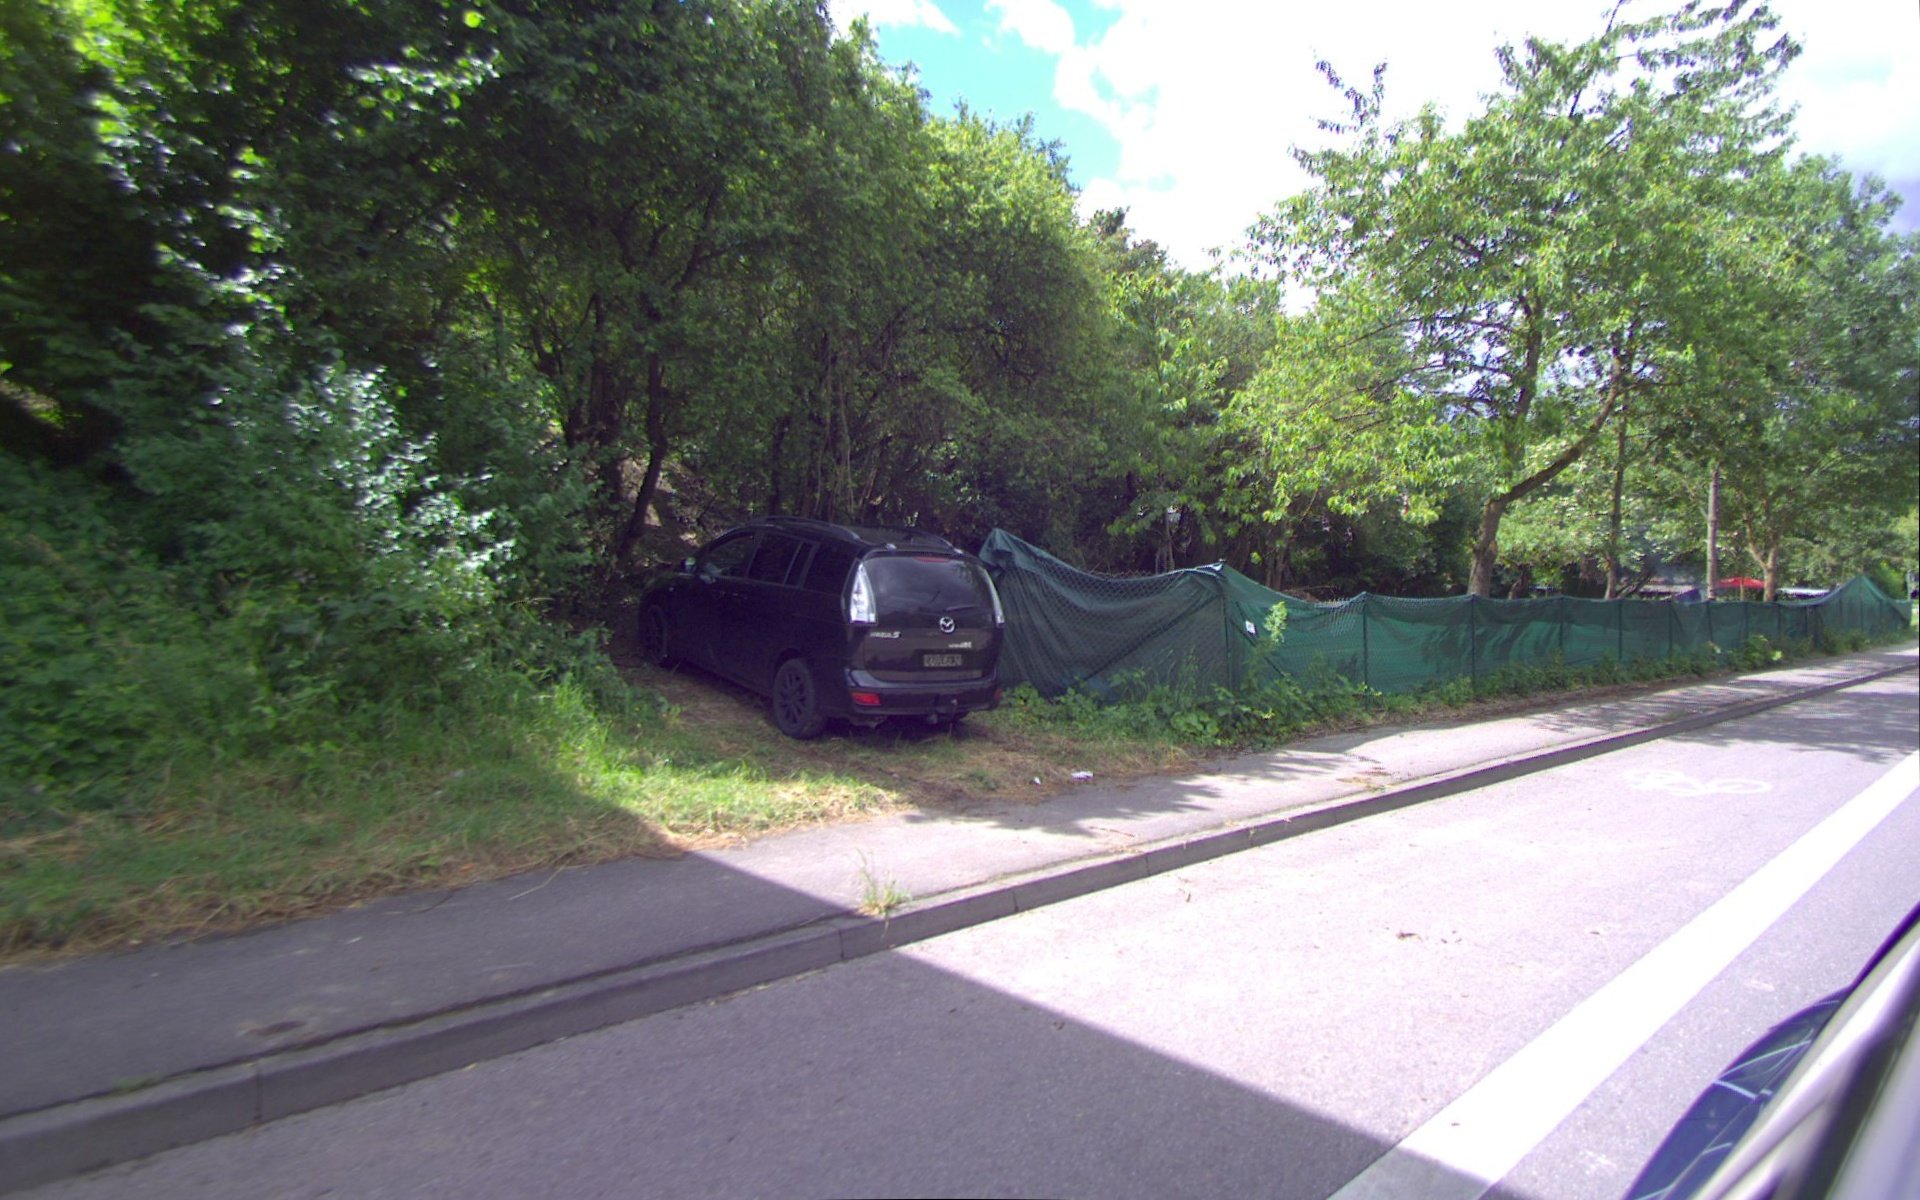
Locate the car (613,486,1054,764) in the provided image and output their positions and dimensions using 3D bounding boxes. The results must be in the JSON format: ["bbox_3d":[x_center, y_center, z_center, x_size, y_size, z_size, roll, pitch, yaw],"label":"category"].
[{"bbox_3d":[-1.451,-0.045,9.457,1.964,1.689,4.542,-2,10,-38],"label":"car"}]
